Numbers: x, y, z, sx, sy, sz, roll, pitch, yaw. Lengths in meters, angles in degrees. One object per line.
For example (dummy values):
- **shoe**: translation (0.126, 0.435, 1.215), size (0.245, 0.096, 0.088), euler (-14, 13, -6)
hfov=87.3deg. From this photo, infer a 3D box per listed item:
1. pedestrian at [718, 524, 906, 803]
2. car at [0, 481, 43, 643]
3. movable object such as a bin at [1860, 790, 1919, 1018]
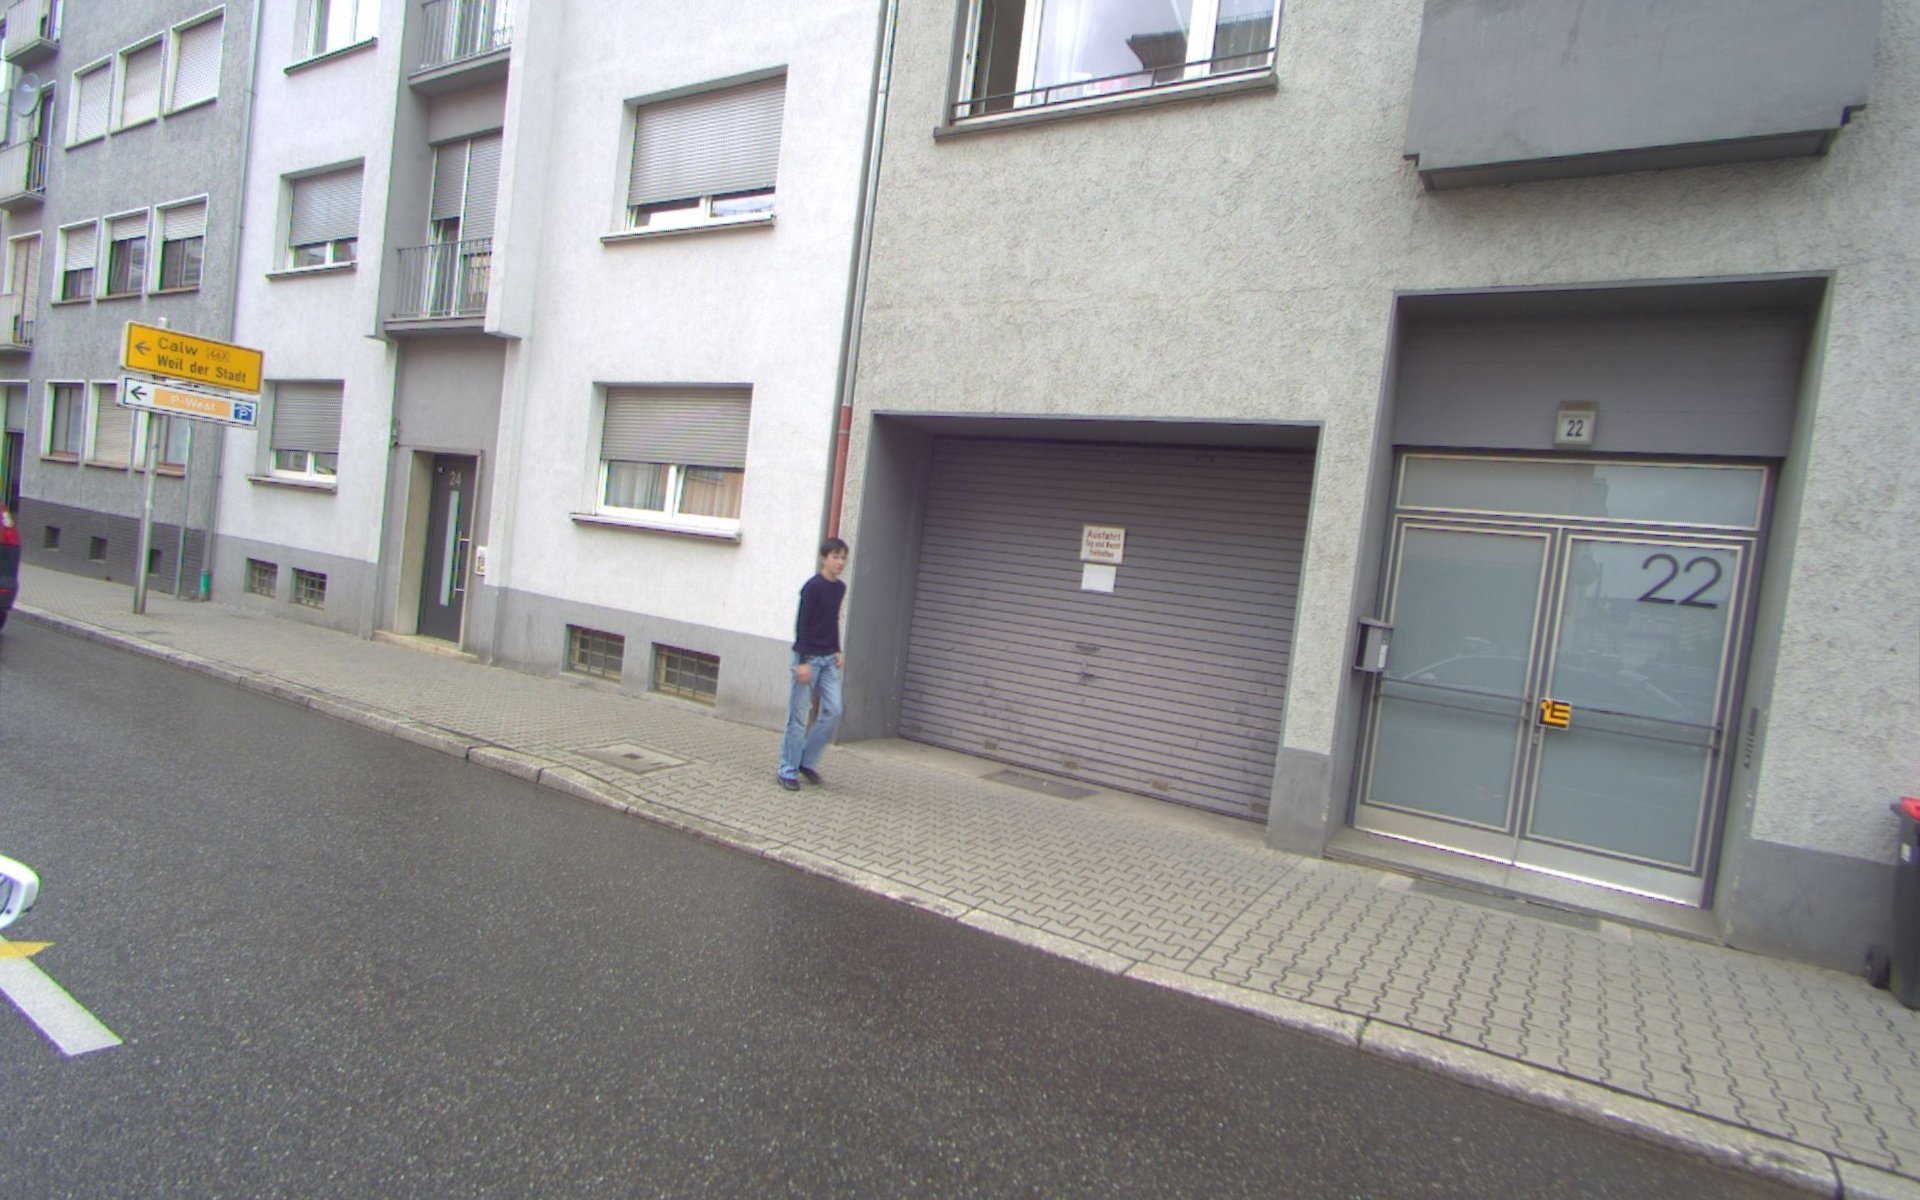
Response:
- **pedestrian**: translation (-1.065, 0.412, 7.204), size (1.039, 1.802, 0.643), euler (7, 4, 31)
- **car**: translation (-11.794, -0.642, 10.818), size (4.144, 1.625, 1.810), euler (7, -1, 34)
- **movable object such as a bin**: translation (4.722, 1.463, 4.758), size (0.507, 0.969, 0.539), euler (7, 4, 32)
